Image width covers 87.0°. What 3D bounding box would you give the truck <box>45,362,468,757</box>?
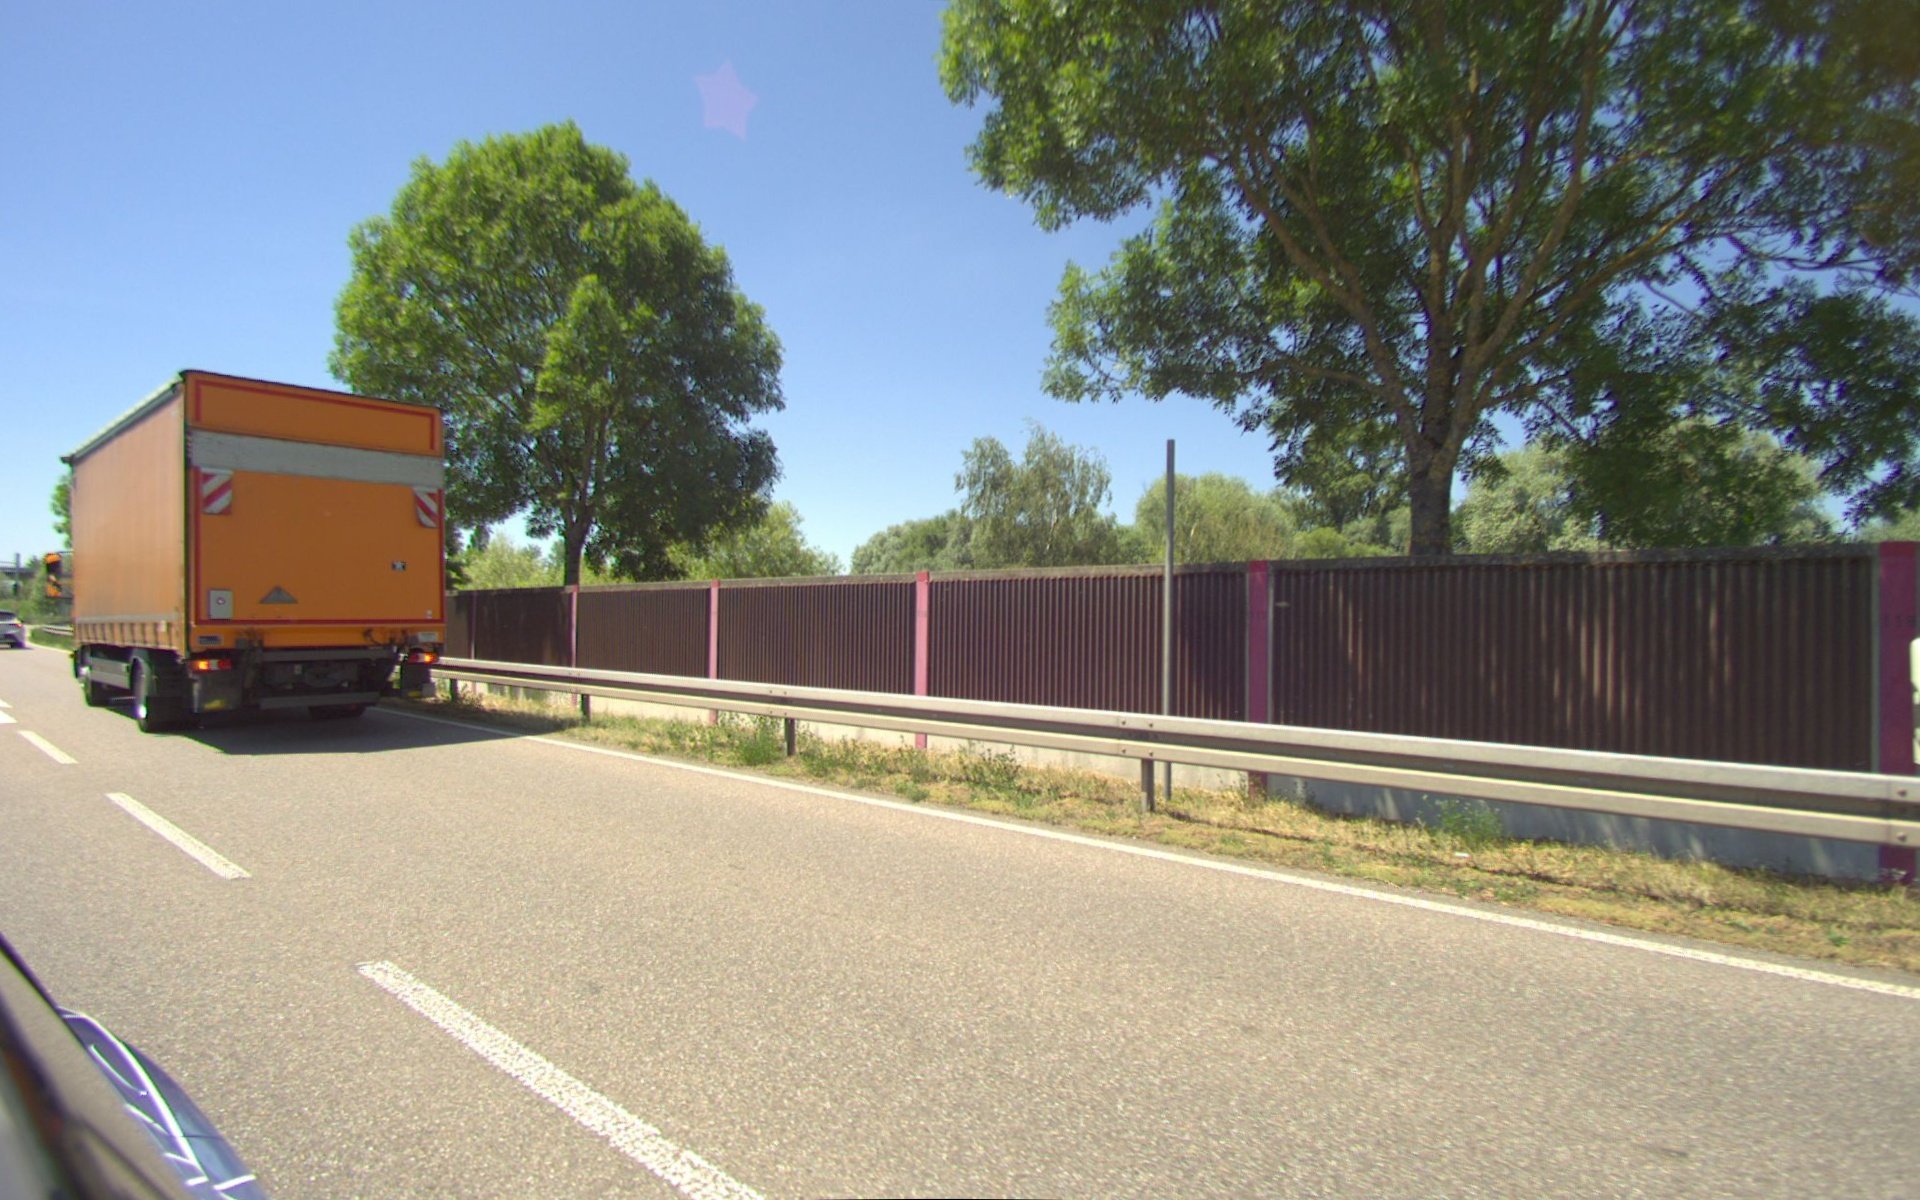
[{"bbox_3d":[-10.206,-0.384,14.057,9.321,3.869,2.762,0,0,42],"label":"truck"}]

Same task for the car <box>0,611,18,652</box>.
[{"bbox_3d":[-36.265,1.146,37.479,4.616,1.471,1.667,-1,0,43],"label":"car"}]
